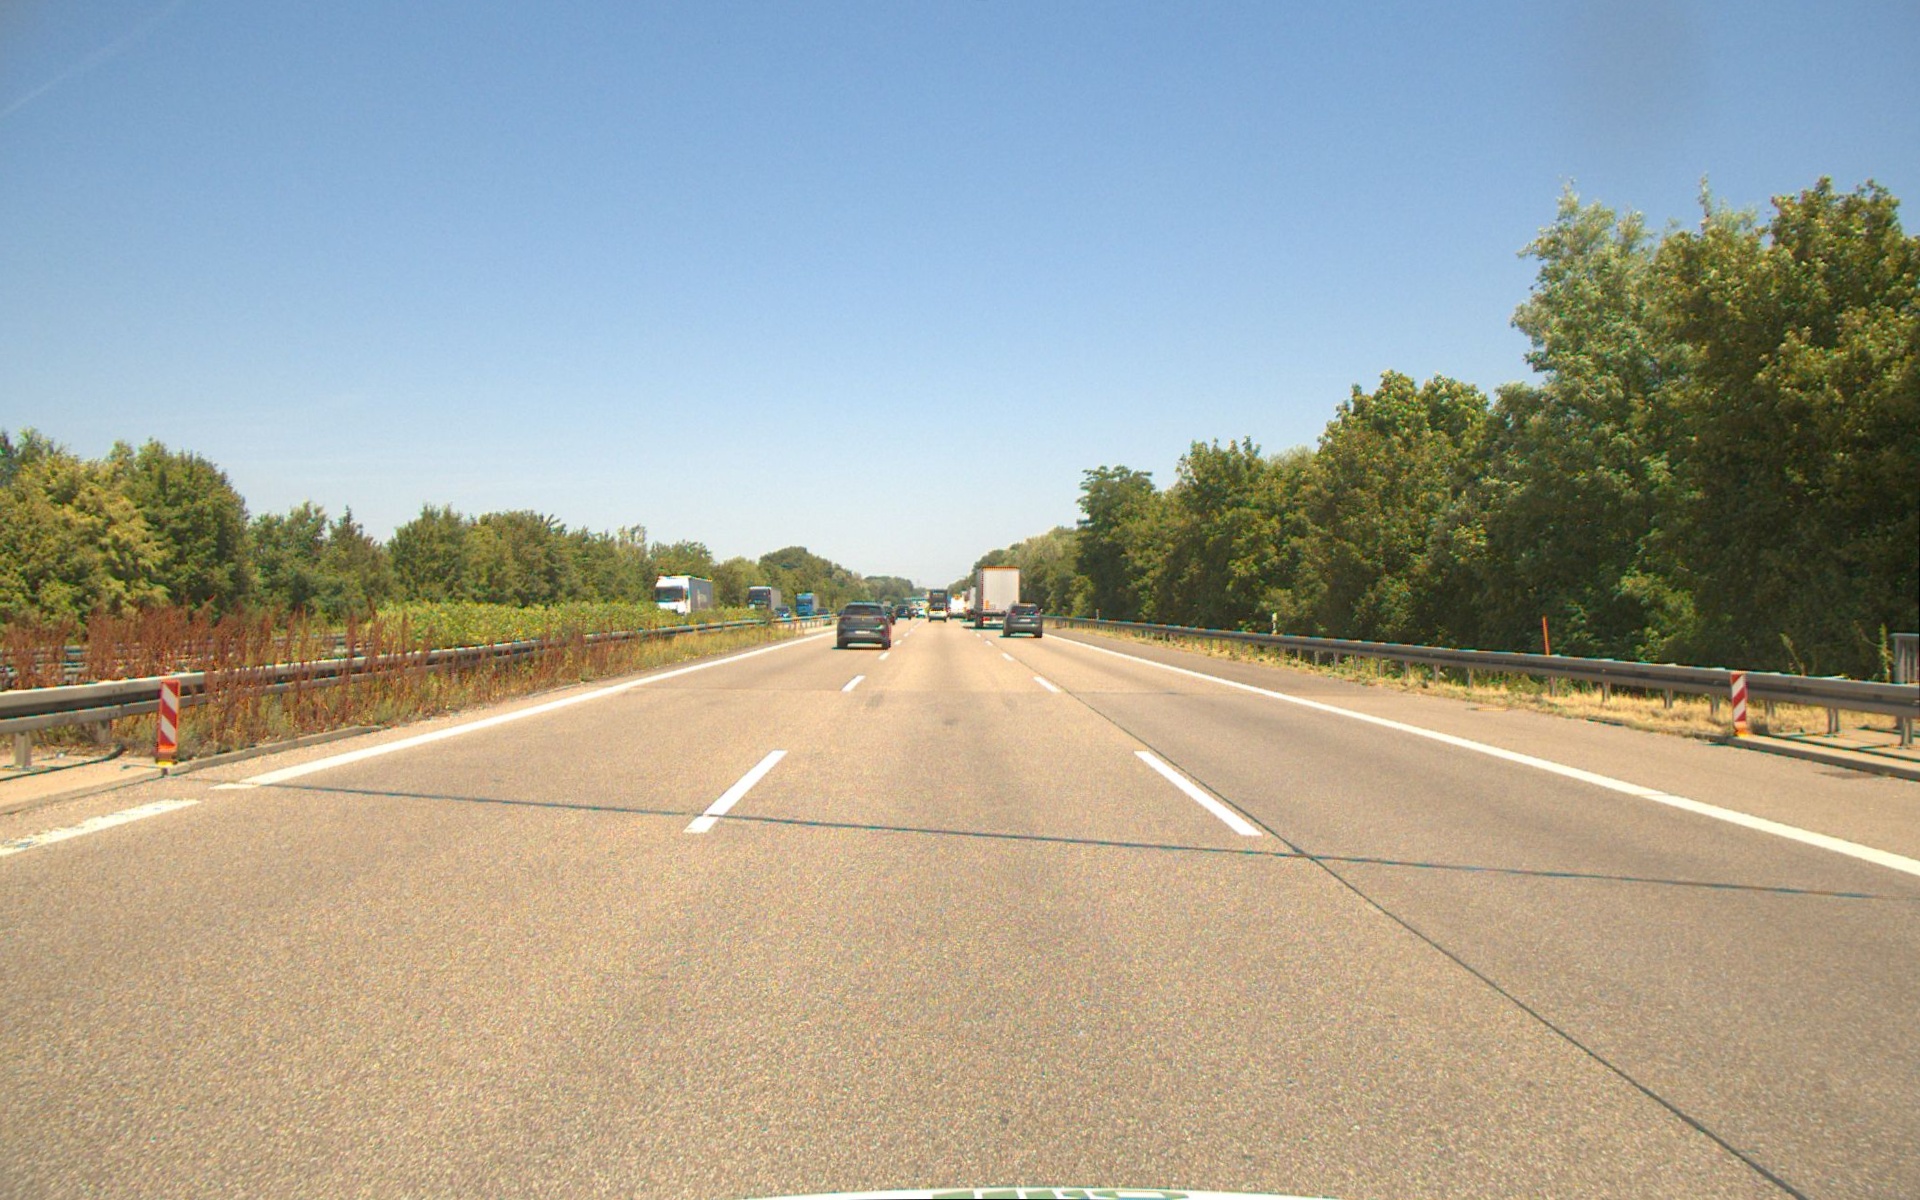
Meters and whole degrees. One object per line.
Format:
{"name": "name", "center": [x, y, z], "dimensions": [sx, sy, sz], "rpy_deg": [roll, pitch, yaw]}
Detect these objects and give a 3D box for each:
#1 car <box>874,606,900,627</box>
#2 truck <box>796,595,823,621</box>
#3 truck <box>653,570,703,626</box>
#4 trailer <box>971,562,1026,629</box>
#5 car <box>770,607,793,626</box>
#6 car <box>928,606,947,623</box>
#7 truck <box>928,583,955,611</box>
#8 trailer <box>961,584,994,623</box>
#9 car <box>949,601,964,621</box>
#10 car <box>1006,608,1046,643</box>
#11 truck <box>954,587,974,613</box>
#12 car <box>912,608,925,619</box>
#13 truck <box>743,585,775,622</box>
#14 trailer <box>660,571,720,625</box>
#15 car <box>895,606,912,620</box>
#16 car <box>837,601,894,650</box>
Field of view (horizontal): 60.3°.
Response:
{"name": "car", "center": [-5.726, 1.290, 130.412], "dimensions": [1.862, 1.557, 4.083], "rpy_deg": [1, 0, -1]}
{"name": "truck", "center": [-23.664, 1.279, 260.610], "dimensions": [3.184, 4.056, 8.729], "rpy_deg": [0, 0, 1]}
{"name": "truck", "center": [-22.417, -0.116, 131.920], "dimensions": [2.857, 4.202, 6.192], "rpy_deg": [-2, -1, -1]}
{"name": "trailer", "center": [2.553, -0.210, 115.036], "dimensions": [3.364, 4.254, 13.629], "rpy_deg": [1, -1, 0]}
{"name": "car", "center": [-19.457, 1.781, 180.294], "dimensions": [2.183, 2.023, 5.354], "rpy_deg": [0, 0, -2]}
{"name": "car", "center": [-2.165, 1.362, 159.449], "dimensions": [1.862, 1.557, 4.083], "rpy_deg": [1, 0, -1]}
{"name": "truck", "center": [-2.529, -0.387, 233.672], "dimensions": [3.592, 3.791, 7.108], "rpy_deg": [1, 0, 0]}
{"name": "trailer", "center": [1.820, 0.312, 176.606], "dimensions": [3.059, 3.995, 9.933], "rpy_deg": [1, 0, -2]}
{"name": "car", "center": [-0.419, 1.385, 209.994], "dimensions": [1.869, 2.467, 4.285], "rpy_deg": [1, 0, -1]}
{"name": "car", "center": [3.211, 1.232, 81.208], "dimensions": [1.807, 1.657, 4.134], "rpy_deg": [0, 0, 0]}
{"name": "truck", "center": [0.603, -0.019, 241.432], "dimensions": [2.735, 3.791, 7.108], "rpy_deg": [1, 0, 0]}
{"name": "car", "center": [-6.544, 2.096, 261.020], "dimensions": [1.869, 1.557, 4.285], "rpy_deg": [1, 0, -1]}
{"name": "truck", "center": [-23.396, 0.369, 192.904], "dimensions": [3.132, 4.202, 6.192], "rpy_deg": [0, 0, -1]}
{"name": "trailer", "center": [-22.518, -0.089, 138.511], "dimensions": [2.860, 4.260, 13.537], "rpy_deg": [-2, -1, -1]}
{"name": "car", "center": [-6.590, 1.486, 192.341], "dimensions": [1.869, 1.557, 4.285], "rpy_deg": [1, 0, -1]}
{"name": "car", "center": [-3.199, 0.859, 56.778], "dimensions": [1.723, 1.557, 4.285], "rpy_deg": [1, 0, -1]}
